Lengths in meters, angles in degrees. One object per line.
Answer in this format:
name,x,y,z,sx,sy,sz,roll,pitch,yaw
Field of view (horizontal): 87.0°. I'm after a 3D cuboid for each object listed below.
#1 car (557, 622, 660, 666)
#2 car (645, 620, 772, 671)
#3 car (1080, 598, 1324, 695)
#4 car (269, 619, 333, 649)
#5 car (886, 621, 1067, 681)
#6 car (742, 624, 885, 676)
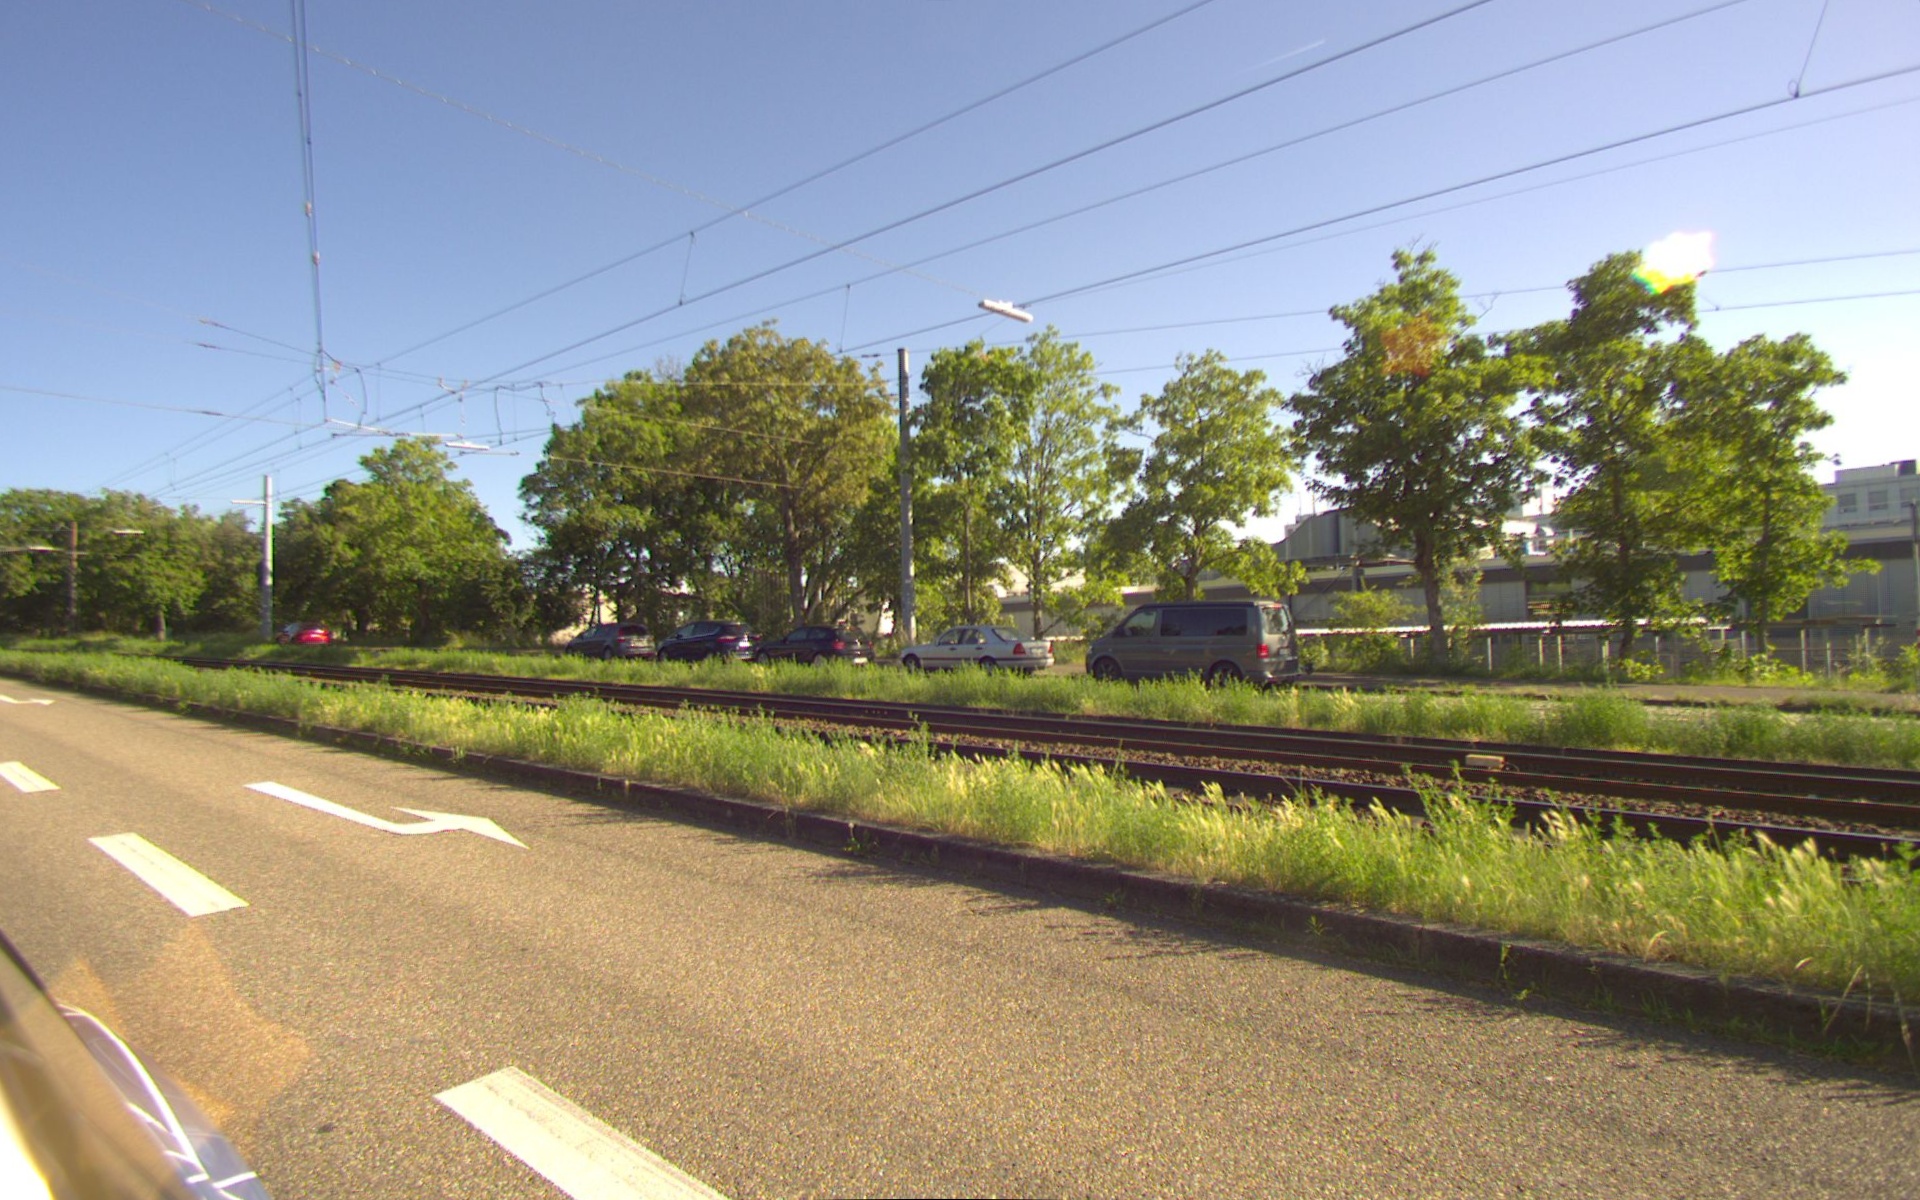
car,-13.543,1.657,38.871,4.323,1.505,1.718,-1,0,39
car,-8.621,1.533,34.487,4.430,1.586,1.974,-2,-2,40
car,5.246,0.988,22.407,4.791,1.905,2.173,-2,-2,43
car,-39.484,2.018,60.612,4.462,1.715,1.984,-2,-2,40
car,0.367,1.330,26.876,4.692,1.448,1.908,-2,-2,41
car,-4.542,1.500,31.012,4.412,1.448,1.973,-2,-2,41
